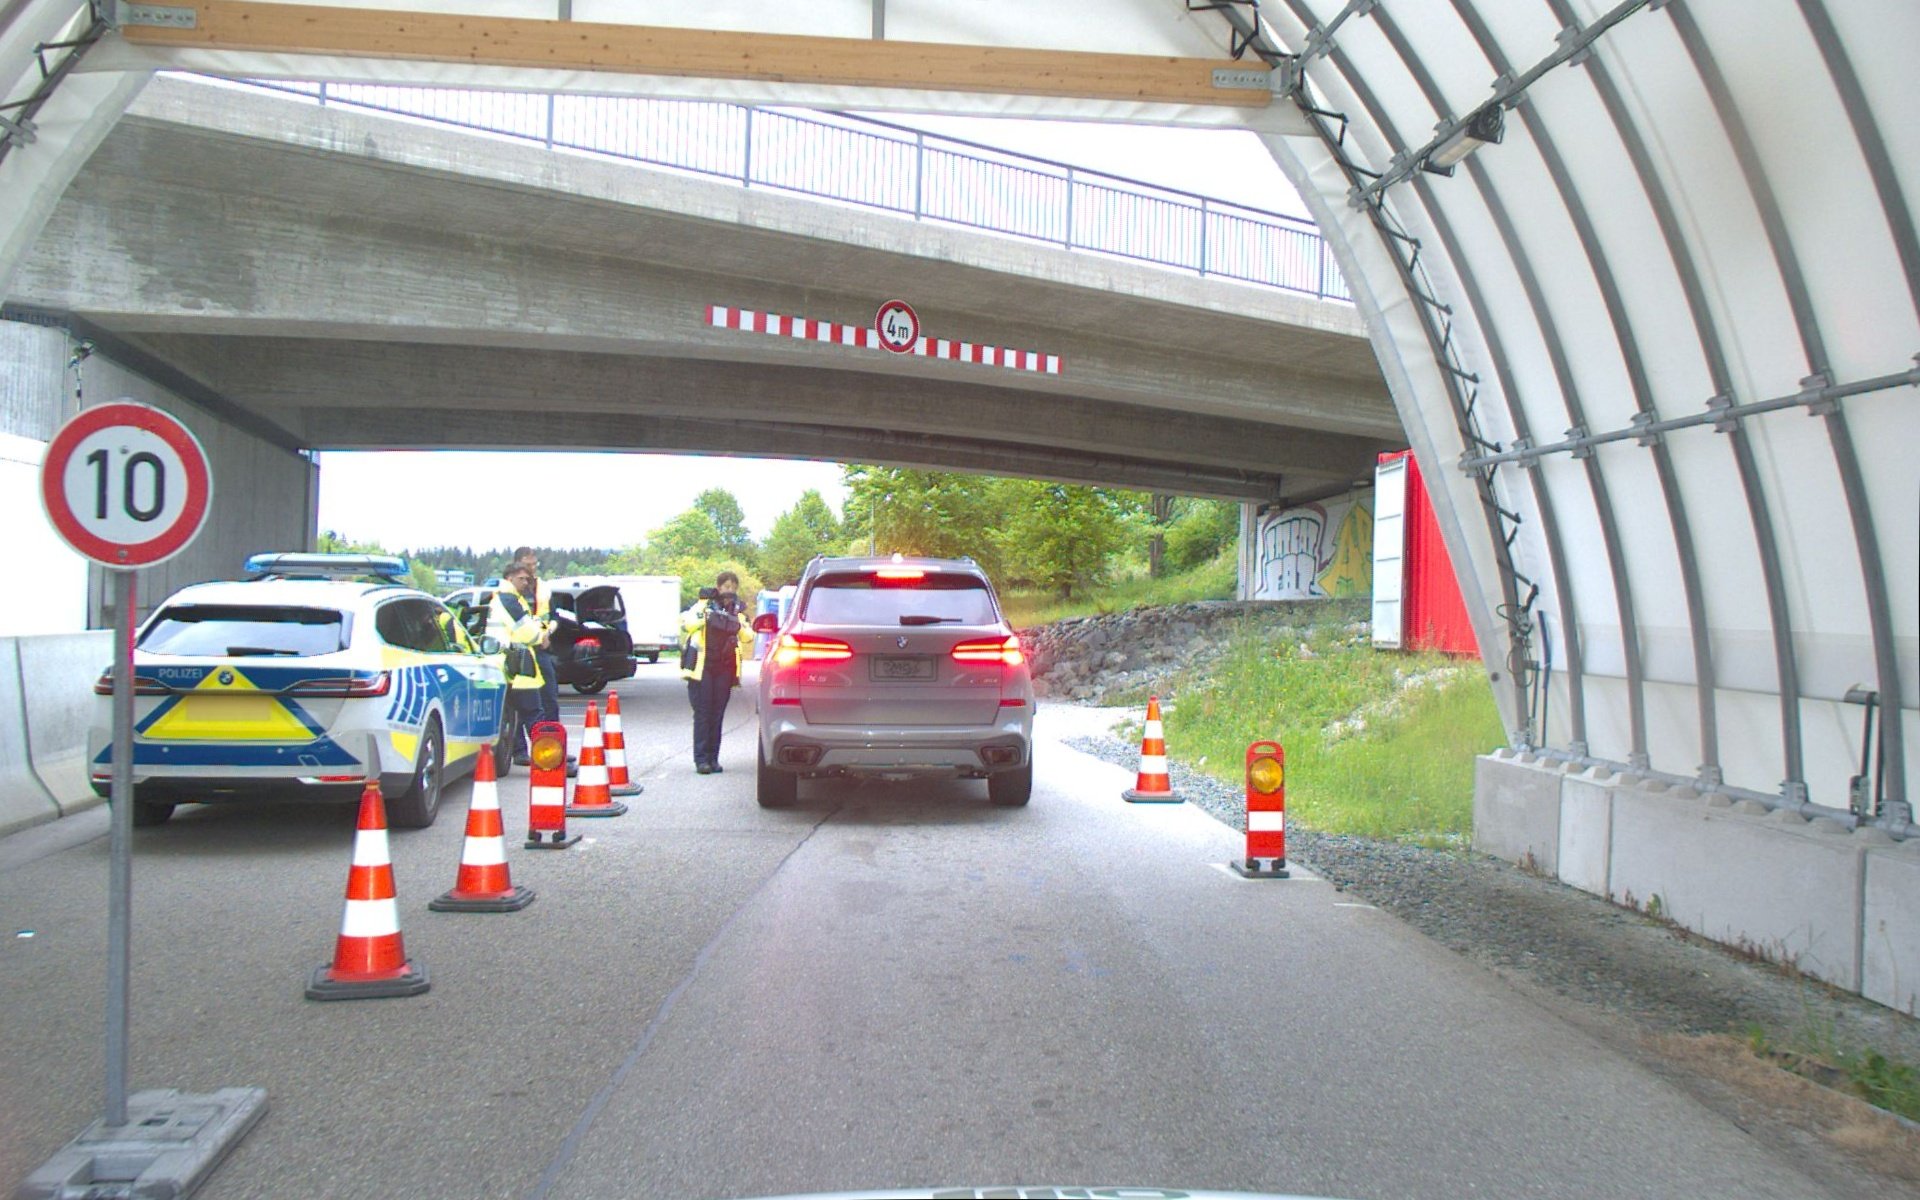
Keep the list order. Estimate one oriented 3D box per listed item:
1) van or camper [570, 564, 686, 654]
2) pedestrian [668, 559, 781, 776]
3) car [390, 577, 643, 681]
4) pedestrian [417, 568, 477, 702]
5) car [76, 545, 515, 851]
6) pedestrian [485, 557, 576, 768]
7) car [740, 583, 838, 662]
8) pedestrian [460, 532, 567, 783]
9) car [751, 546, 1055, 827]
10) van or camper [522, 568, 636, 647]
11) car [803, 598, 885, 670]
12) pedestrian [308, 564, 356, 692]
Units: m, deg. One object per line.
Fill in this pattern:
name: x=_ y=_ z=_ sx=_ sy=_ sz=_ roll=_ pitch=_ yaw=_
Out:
van or camper: x=-10.270 y=0.257 z=50.735 sx=2.200 sy=2.597 sz=6.563 roll=0 pitch=0 yaw=-23
pedestrian: x=-1.980 y=0.541 z=13.843 sx=0.769 sy=1.752 sz=0.751 roll=0 pitch=0 yaw=-23
car: x=-9.097 y=0.568 z=34.029 sx=4.703 sy=2.049 sz=1.842 roll=0 pitch=0 yaw=13
pedestrian: x=-7.970 y=0.537 z=25.721 sx=0.675 sy=2.049 sz=0.703 roll=0 pitch=0 yaw=6
car: x=-4.218 y=0.534 z=11.202 sx=1.843 sy=1.675 sz=3.992 roll=0 pitch=0 yaw=-8
pedestrian: x=-3.719 y=0.526 z=14.367 sx=0.596 sy=1.784 sz=0.666 roll=0 pitch=0 yaw=0
car: x=-5.483 y=0.679 z=52.678 sx=1.968 sy=2.387 sz=3.969 roll=0 pitch=0 yaw=-24
pedestrian: x=-3.572 y=0.446 z=13.289 sx=0.735 sy=1.952 sz=0.761 roll=0 pitch=0 yaw=-9
car: x=-0.461 y=0.555 z=12.706 sx=1.954 sy=1.796 sz=3.998 roll=-1 pitch=0 yaw=-3
van or camper: x=-13.075 y=0.242 z=56.478 sx=2.084 sy=2.563 sz=5.488 roll=0 pitch=0 yaw=-33
car: x=-3.049 y=0.834 z=42.869 sx=1.955 sy=1.752 sz=3.891 roll=0 pitch=0 yaw=-7
pedestrian: x=-10.138 y=0.447 z=26.719 sx=0.613 sy=2.049 sz=0.654 roll=0 pitch=0 yaw=-10
